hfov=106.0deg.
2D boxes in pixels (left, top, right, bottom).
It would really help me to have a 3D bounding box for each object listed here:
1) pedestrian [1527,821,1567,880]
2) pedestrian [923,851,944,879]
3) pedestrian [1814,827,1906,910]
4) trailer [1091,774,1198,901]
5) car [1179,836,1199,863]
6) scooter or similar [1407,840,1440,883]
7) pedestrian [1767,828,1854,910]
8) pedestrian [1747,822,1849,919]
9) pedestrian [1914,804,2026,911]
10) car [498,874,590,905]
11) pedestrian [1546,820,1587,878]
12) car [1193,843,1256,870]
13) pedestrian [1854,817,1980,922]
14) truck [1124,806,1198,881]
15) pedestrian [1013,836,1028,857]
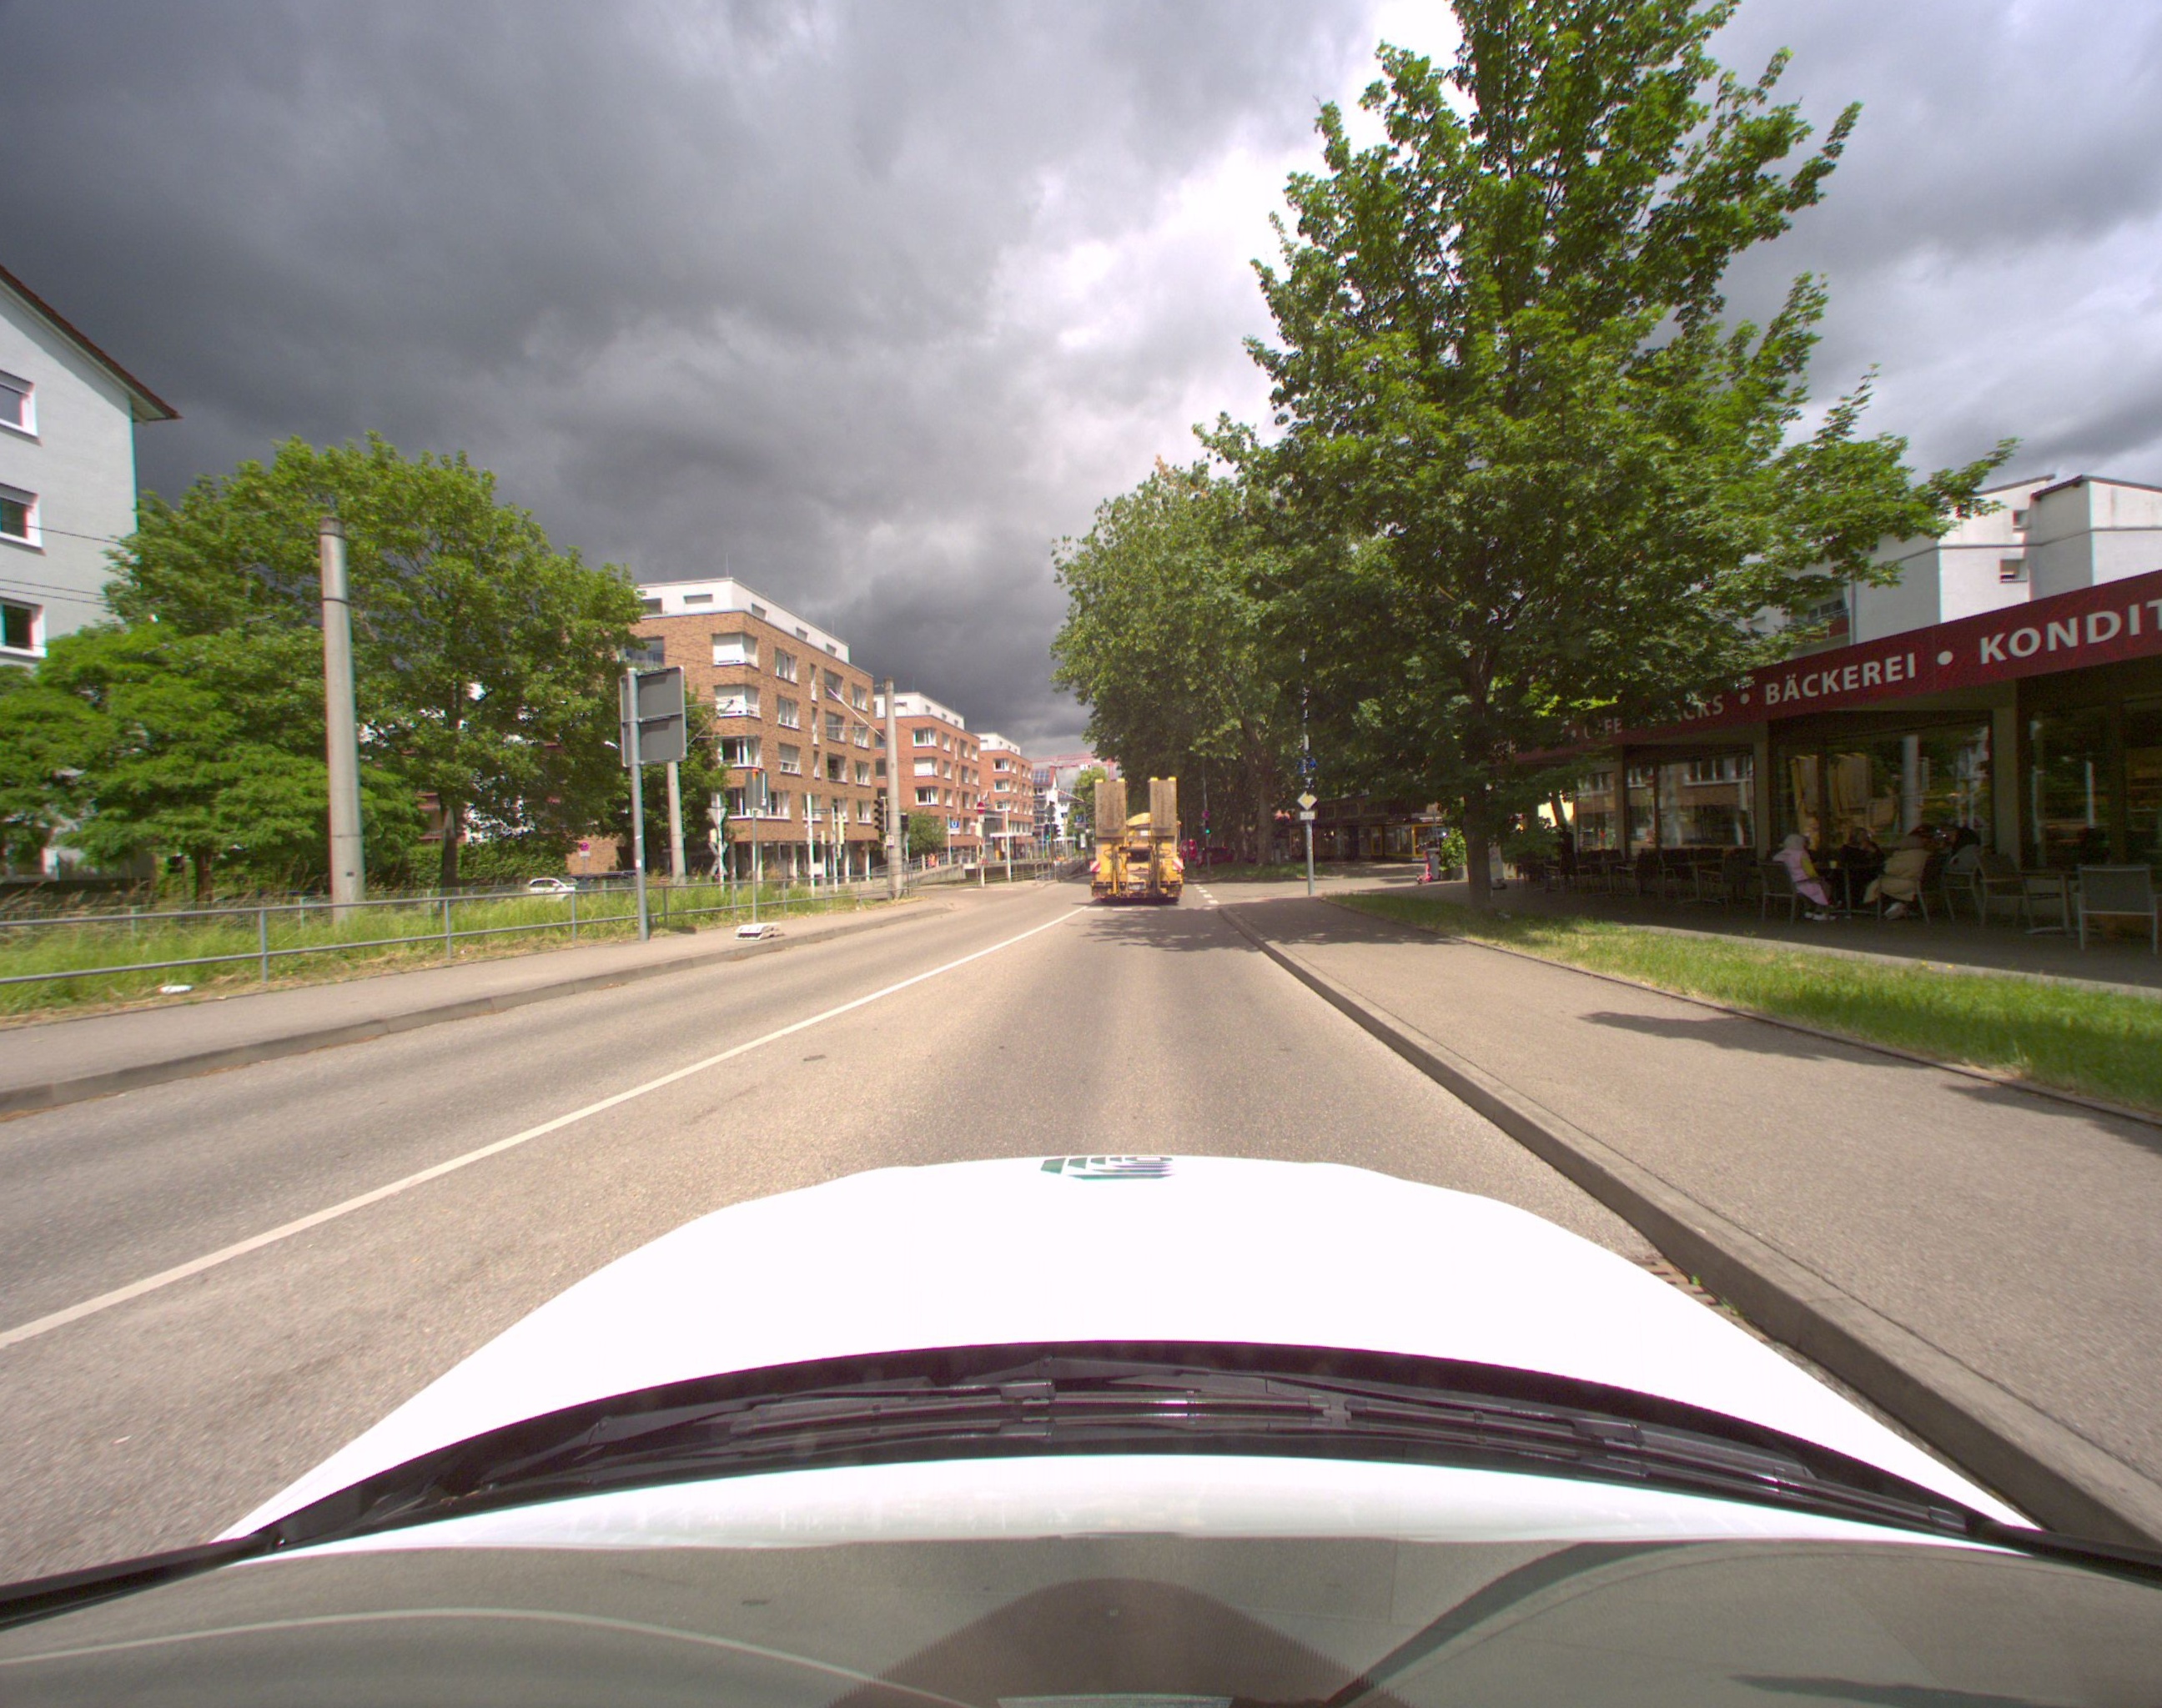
[{"bbox_3d":[12.646,-0.096,22.116,0.694,1.573,0.557,-3,0,0],"label":"pedestrian"},{"bbox_3d":[-10.931,0.806,60.284,1.129,2.013,1.002,-3,0,12],"label":"pedestrian"},{"bbox_3d":[11.816,0.212,12.373,0.713,1.201,0.701,-3,0,10],"label":"pedestrian"},{"bbox_3d":[2.346,-0.402,27.551,2.849,3.372,10.860,-1,-1,7],"label":"trailer"},{"bbox_3d":[11.979,-0.540,90.406,1.982,2.827,5.129,2,1,9],"label":"car"},{"bbox_3d":[10.574,0.218,25.127,0.513,1.226,1.743,-2,2,36],"label":"scooter or similar"},{"bbox_3d":[11.235,0.228,12.566,0.713,1.201,0.701,-3,0,10],"label":"pedestrian"},{"bbox_3d":[10.382,0.231,11.814,0.873,1.325,0.611,-3,0,4],"label":"pedestrian"},{"bbox_3d":[12.037,0.045,11.050,0.715,1.380,0.699,-3,0,3],"label":"pedestrian"},{"bbox_3d":[-26.231,1.710,39.827,3.321,1.235,1.623,-2,2,1],"label":"car"},{"bbox_3d":[12.851,-0.134,21.548,0.694,1.488,0.557,-3,0,0],"label":"pedestrian"},{"bbox_3d":[9.297,0.156,52.999,3.964,1.511,2.005,-1,3,8],"label":"car"},{"bbox_3d":[11.193,0.182,10.936,0.876,1.324,0.822,-3,3,-4],"label":"pedestrian"},{"bbox_3d":[3.611,-0.530,37.287,2.974,3.034,8.499,-1,2,5],"label":"truck"},{"bbox_3d":[-6.016,-0.740,81.244,1.129,2.013,1.002,-3,0,12],"label":"pedestrian"}]
